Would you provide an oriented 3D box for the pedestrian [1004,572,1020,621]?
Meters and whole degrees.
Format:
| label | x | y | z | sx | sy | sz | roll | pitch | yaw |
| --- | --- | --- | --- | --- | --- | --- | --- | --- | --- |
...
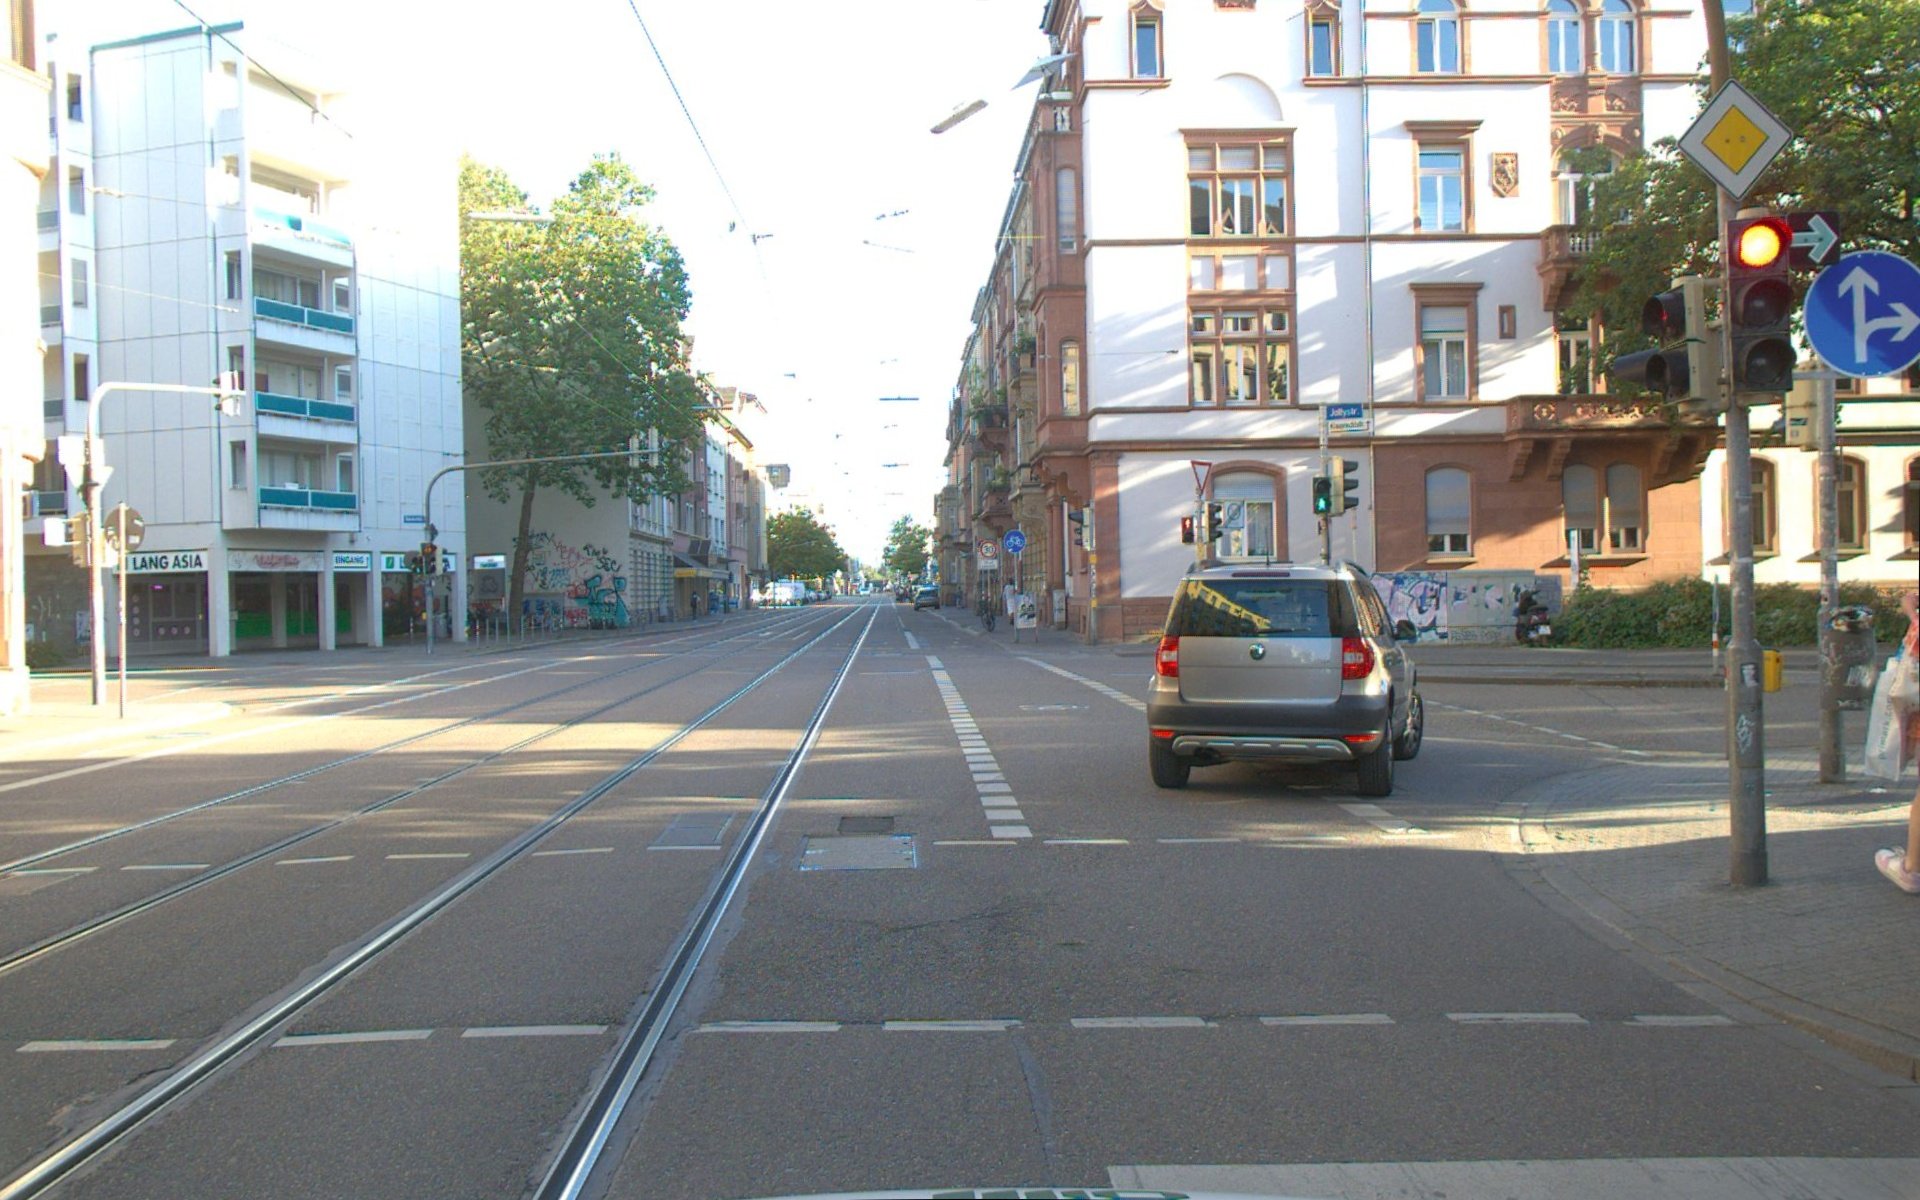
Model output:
| label | x | y | z | sx | sy | sz | roll | pitch | yaw |
| --- | --- | --- | --- | --- | --- | --- | --- | --- | --- |
| pedestrian | 1.937 | -0.132 | 62.177 | 0.533 | 1.811 | 0.504 | -1 | 0 | -2 |

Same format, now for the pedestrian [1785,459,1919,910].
| label | x | y | z | sx | sy | sz | roll | pitch | yaw |
| --- | --- | --- | --- | --- | --- | --- | --- | --- | --- |
| pedestrian | 4.196 | 0.308 | 7.077 | 0.790 | 1.830 | 0.761 | -5 | 1 | -4 |

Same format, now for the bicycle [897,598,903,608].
| label | x | y | z | sx | sy | sz | roll | pitch | yaw |
| --- | --- | --- | --- | --- | --- | --- | --- | --- | --- |
| bicycle | -6.755 | 0.319 | 186.182 | 0.563 | 1.048 | 1.894 | -1 | 0 | -1 |

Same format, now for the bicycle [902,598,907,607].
| label | x | y | z | sx | sy | sz | roll | pitch | yaw |
| --- | --- | --- | --- | --- | --- | --- | --- | --- | --- |
| bicycle | -6.680 | 0.263 | 198.026 | 0.563 | 1.048 | 1.894 | -1 | 0 | -1 |

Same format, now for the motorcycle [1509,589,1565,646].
| label | x | y | z | sx | sy | sz | roll | pitch | yaw |
| --- | --- | --- | --- | --- | --- | --- | --- | --- | --- |
| motorcycle | 12.155 | 0.350 | 34.877 | 0.704 | 1.037 | 2.289 | -1 | 2 | 9 |

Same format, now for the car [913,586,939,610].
| label | x | y | z | sx | sy | sz | roll | pitch | yaw |
| --- | --- | --- | --- | --- | --- | --- | --- | --- | --- |
| car | -2.545 | -0.181 | 124.275 | 1.910 | 1.713 | 3.999 | -1 | 0 | -1 |

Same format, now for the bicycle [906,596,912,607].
| label | x | y | z | sx | sy | sz | roll | pitch | yaw |
| --- | --- | --- | --- | --- | --- | --- | --- | --- | --- |
| bicycle | -4.899 | 0.149 | 159.242 | 0.563 | 1.048 | 1.894 | -1 | 0 | -1 |

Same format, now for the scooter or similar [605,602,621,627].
| label | x | y | z | sx | sy | sz | roll | pitch | yaw |
| --- | --- | --- | --- | --- | --- | --- | --- | --- | --- |
| scooter or similar | -15.685 | 0.642 | 74.821 | 0.506 | 1.076 | 1.477 | -1 | 0 | -4 |

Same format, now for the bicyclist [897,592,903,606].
| label | x | y | z | sx | sy | sz | roll | pitch | yaw |
| --- | --- | --- | --- | --- | --- | --- | --- | --- | --- |
| bicyclist | -6.773 | -0.135 | 186.176 | 0.563 | 1.520 | 0.795 | -1 | 0 | -1 |

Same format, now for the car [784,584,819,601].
| label | x | y | z | sx | sy | sz | roll | pitch | yaw |
| --- | --- | --- | --- | --- | --- | --- | --- | --- | --- |
| car | -20.046 | -0.978 | 209.050 | 3.941 | 2.049 | 1.982 | -2 | 0 | -28 |

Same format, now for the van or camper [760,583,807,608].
| label | x | y | z | sx | sy | sz | roll | pitch | yaw |
| --- | --- | --- | --- | --- | --- | --- | --- | --- | --- |
| van or camper | -18.533 | -0.493 | 173.755 | 4.593 | 2.608 | 1.977 | -1 | 0 | -34 |

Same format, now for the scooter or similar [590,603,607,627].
| label | x | y | z | sx | sy | sz | roll | pitch | yaw |
| --- | --- | --- | --- | --- | --- | --- | --- | --- | --- |
| scooter or similar | -16.331 | 0.659 | 74.754 | 0.506 | 1.064 | 1.477 | -1 | 0 | -4 |

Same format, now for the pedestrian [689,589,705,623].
| label | x | y | z | sx | sy | sz | roll | pitch | yaw |
| --- | --- | --- | --- | --- | --- | --- | --- | --- | --- |
| pedestrian | -13.954 | 0.322 | 87.768 | 0.687 | 1.758 | 0.647 | -1 | 0 | -3 |

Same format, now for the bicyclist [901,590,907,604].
| label | x | y | z | sx | sy | sz | roll | pitch | yaw |
| --- | --- | --- | --- | --- | --- | --- | --- | --- | --- |
| bicyclist | -6.703 | -0.331 | 198.011 | 0.563 | 1.708 | 0.795 | -1 | 0 | -1 |

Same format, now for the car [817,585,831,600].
| label | x | y | z | sx | sy | sz | roll | pitch | yaw |
| --- | --- | --- | --- | --- | --- | --- | --- | --- | --- |
| car | -19.344 | -1.039 | 235.349 | 1.954 | 2.049 | 3.998 | -1 | 0 | -3 |

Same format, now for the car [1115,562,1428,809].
| label | x | y | z | sx | sy | sz | roll | pitch | yaw |
| --- | --- | --- | --- | --- | --- | --- | --- | --- | --- |
| car | 2.653 | 0.559 | 13.282 | 1.952 | 1.646 | 4.002 | 1 | 0 | 18 |

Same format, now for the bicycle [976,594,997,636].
| label | x | y | z | sx | sy | sz | roll | pitch | yaw |
| --- | --- | --- | --- | --- | --- | --- | --- | --- | --- |
| bicycle | 0.863 | 0.491 | 55.037 | 0.640 | 1.346 | 2.176 | -1 | 0 | 0 |

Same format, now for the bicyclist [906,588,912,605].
| label | x | y | z | sx | sy | sz | roll | pitch | yaw |
| --- | --- | --- | --- | --- | --- | --- | --- | --- | --- |
| bicyclist | -4.914 | -0.358 | 159.235 | 0.563 | 1.581 | 0.595 | -1 | 0 | -1 |
